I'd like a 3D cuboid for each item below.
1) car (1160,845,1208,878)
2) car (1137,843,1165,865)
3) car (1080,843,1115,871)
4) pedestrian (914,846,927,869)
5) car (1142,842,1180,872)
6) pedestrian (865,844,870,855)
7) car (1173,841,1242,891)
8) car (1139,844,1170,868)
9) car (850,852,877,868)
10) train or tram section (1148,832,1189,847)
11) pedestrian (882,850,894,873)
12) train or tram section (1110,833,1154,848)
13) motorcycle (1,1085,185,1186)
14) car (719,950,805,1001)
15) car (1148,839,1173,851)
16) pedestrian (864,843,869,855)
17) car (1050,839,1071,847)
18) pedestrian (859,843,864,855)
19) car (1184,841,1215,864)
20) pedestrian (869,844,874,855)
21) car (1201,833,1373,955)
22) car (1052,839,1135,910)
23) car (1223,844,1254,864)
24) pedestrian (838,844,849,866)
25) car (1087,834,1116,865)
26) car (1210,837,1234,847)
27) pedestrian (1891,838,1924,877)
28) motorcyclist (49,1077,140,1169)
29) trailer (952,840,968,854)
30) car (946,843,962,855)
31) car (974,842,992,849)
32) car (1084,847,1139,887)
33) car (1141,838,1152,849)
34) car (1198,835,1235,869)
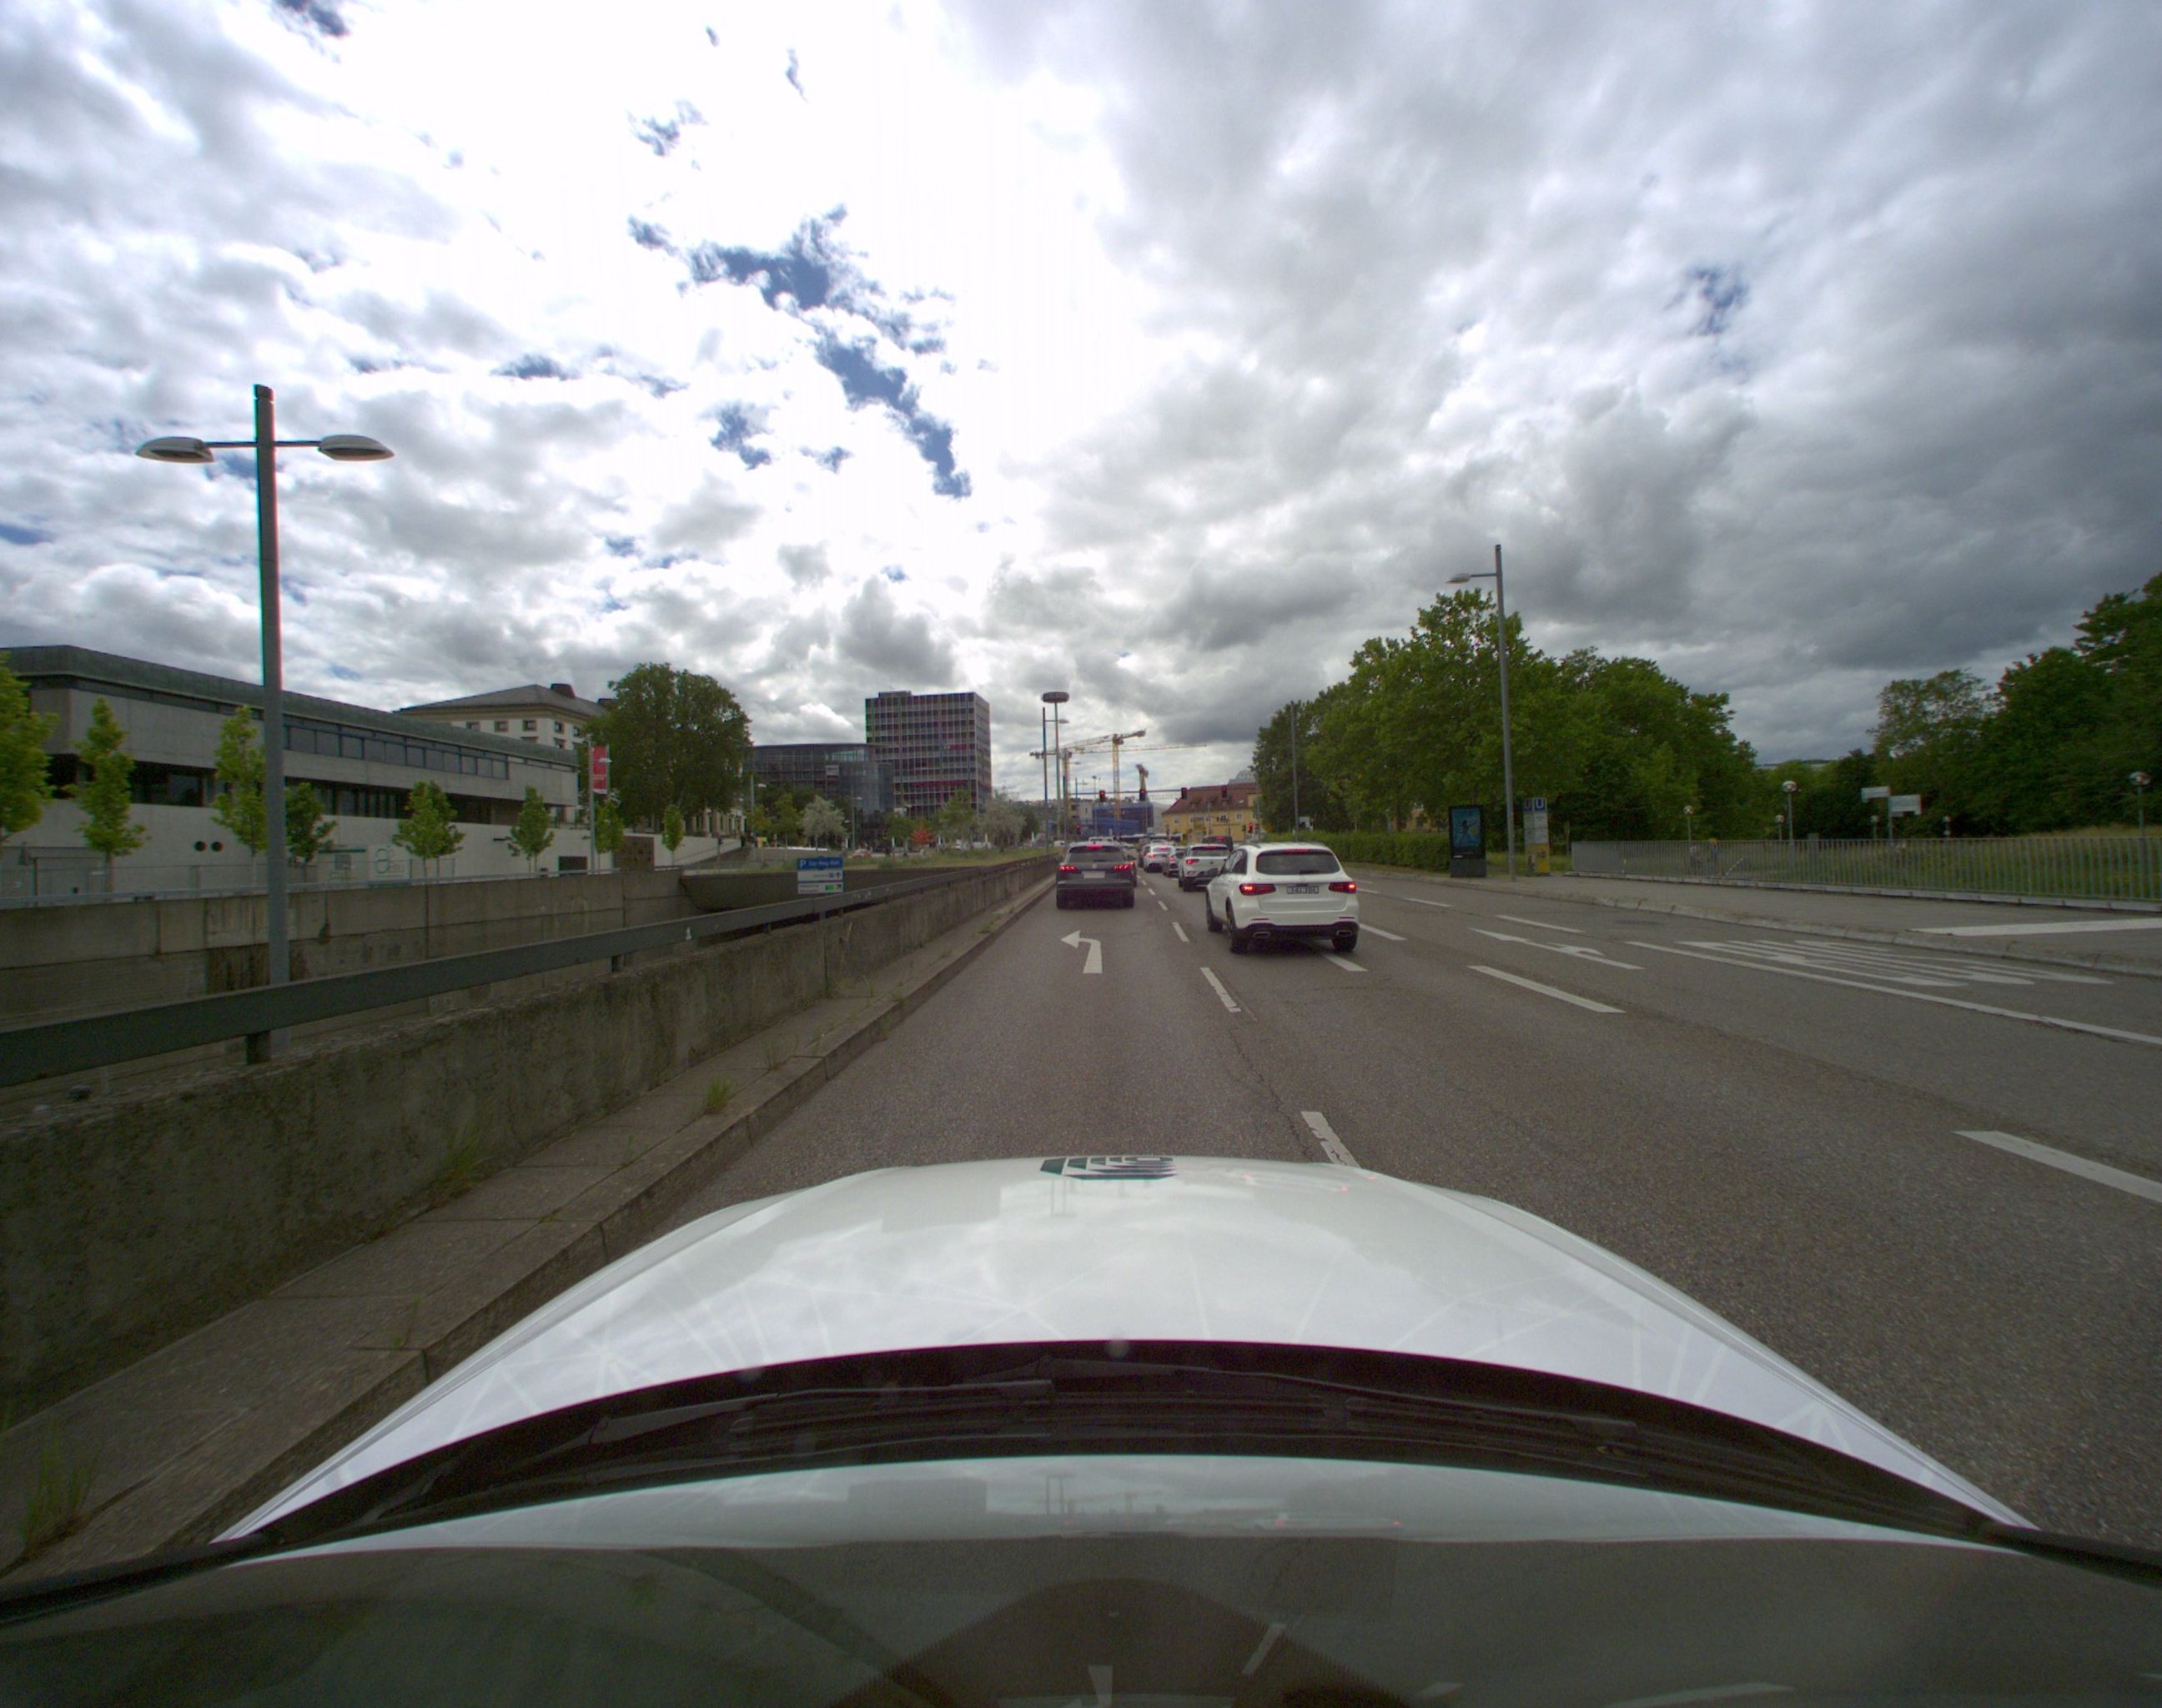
[{"bbox_3d":[4.830,0.325,38.770,1.918,1.432,4.493,-1,0,3],"label":"car"},{"bbox_3d":[5.160,0.018,60.611,1.918,1.529,4.051,-1,0,3],"label":"car"},{"bbox_3d":[0.983,0.152,47.614,1.944,1.599,3.933,0,1,1],"label":"car"},{"bbox_3d":[-14.189,0.319,71.974,0.857,2.013,0.629,-2,2,1],"label":"pedestrian"},{"bbox_3d":[4.414,0.150,45.509,1.918,1.529,4.493,-1,0,3],"label":"car"},{"bbox_3d":[-38.163,-0.848,145.476,0.740,2.013,0.788,-3,2,-18],"label":"pedestrian"},{"bbox_3d":[4.267,0.371,28.148,1.918,1.550,4.493,-1,0,3],"label":"car"},{"bbox_3d":[4.844,0.138,54.326,1.918,1.529,4.051,-1,0,3],"label":"car"},{"bbox_3d":[-27.856,0.764,104.430,2.167,1.854,4.736,-2,1,0],"label":"car"},{"bbox_3d":[18.684,-3.008,174.609,8.836,3.009,2.613,0,-1,40],"label":"train or tram section"},{"bbox_3d":[-17.076,0.641,72.131,0.794,2.013,0.830,-3,1,-26],"label":"pedestrian"},{"bbox_3d":[11.246,-2.920,180.658,10.295,3.009,2.613,0,-1,39],"label":"train or tram section"},{"bbox_3d":[-17.344,4.904,14.391,0.683,1.098,2.051,-5,-3,2],"label":"motorcycle"},{"bbox_3d":[-15.674,5.957,40.400,1.987,1.639,5.249,-7,-2,0],"label":"car"},{"bbox_3d":[14.247,-1.658,146.346,3.948,2.014,2.013,0,-1,35],"label":"car"},{"bbox_3d":[-37.744,-0.868,143.420,0.740,2.013,0.788,-3,2,-18],"label":"pedestrian"},{"bbox_3d":[-4.170,-2.164,165.060,4.060,1.610,1.841,0,-1,37],"label":"car"},{"bbox_3d":[-38.595,-0.859,143.231,0.740,2.013,1.108,-3,2,-18],"label":"pedestrian"},{"bbox_3d":[8.845,-0.102,61.184,1.902,1.697,4.015,0,0,3],"label":"car"},{"bbox_3d":[-37.344,-0.842,144.929,0.740,2.013,1.108,-3,2,-18],"label":"pedestrian"},{"bbox_3d":[3.181,0.543,13.526,1.918,1.653,4.493,-1,0,3],"label":"car"},{"bbox_3d":[0.356,0.468,21.488,1.944,1.651,4.002,-1,1,1],"label":"car"},{"bbox_3d":[11.996,-0.014,62.199,1.751,1.447,3.634,0,0,1],"label":"car"},{"bbox_3d":[-22.294,0.073,76.422,0.729,2.012,0.628,-2,5,-6],"label":"pedestrian"},{"bbox_3d":[1.395,-0.293,55.084,1.944,2.018,3.933,0,1,1],"label":"car"},{"bbox_3d":[28.213,-2.381,162.862,4.403,2.014,2.013,0,-1,36],"label":"car"},{"bbox_3d":[33.952,0.140,33.462,0.651,1.601,0.686,0,-1,12],"label":"pedestrian"},{"bbox_3d":[-17.365,4.718,14.351,0.667,1.352,0.718,-5,-3,0],"label":"motorcyclist"},{"bbox_3d":[-23.468,-1.303,157.855,2.030,2.604,5.511,0,1,2],"label":"trailer"},{"bbox_3d":[-23.719,-0.899,152.780,1.985,2.013,4.696,-2,2,3],"label":"car"},{"bbox_3d":[-24.348,-2.101,202.717,3.950,1.568,1.848,0,-1,27],"label":"car"},{"bbox_3d":[1.140,0.453,30.797,1.944,1.384,3.933,0,1,1],"label":"car"},{"bbox_3d":[10.318,-1.624,127.806,1.612,1.627,4.003,0,-1,3],"label":"car"},{"bbox_3d":[8.527,-0.123,51.518,1.902,2.013,4.015,0,0,3],"label":"car"}]
